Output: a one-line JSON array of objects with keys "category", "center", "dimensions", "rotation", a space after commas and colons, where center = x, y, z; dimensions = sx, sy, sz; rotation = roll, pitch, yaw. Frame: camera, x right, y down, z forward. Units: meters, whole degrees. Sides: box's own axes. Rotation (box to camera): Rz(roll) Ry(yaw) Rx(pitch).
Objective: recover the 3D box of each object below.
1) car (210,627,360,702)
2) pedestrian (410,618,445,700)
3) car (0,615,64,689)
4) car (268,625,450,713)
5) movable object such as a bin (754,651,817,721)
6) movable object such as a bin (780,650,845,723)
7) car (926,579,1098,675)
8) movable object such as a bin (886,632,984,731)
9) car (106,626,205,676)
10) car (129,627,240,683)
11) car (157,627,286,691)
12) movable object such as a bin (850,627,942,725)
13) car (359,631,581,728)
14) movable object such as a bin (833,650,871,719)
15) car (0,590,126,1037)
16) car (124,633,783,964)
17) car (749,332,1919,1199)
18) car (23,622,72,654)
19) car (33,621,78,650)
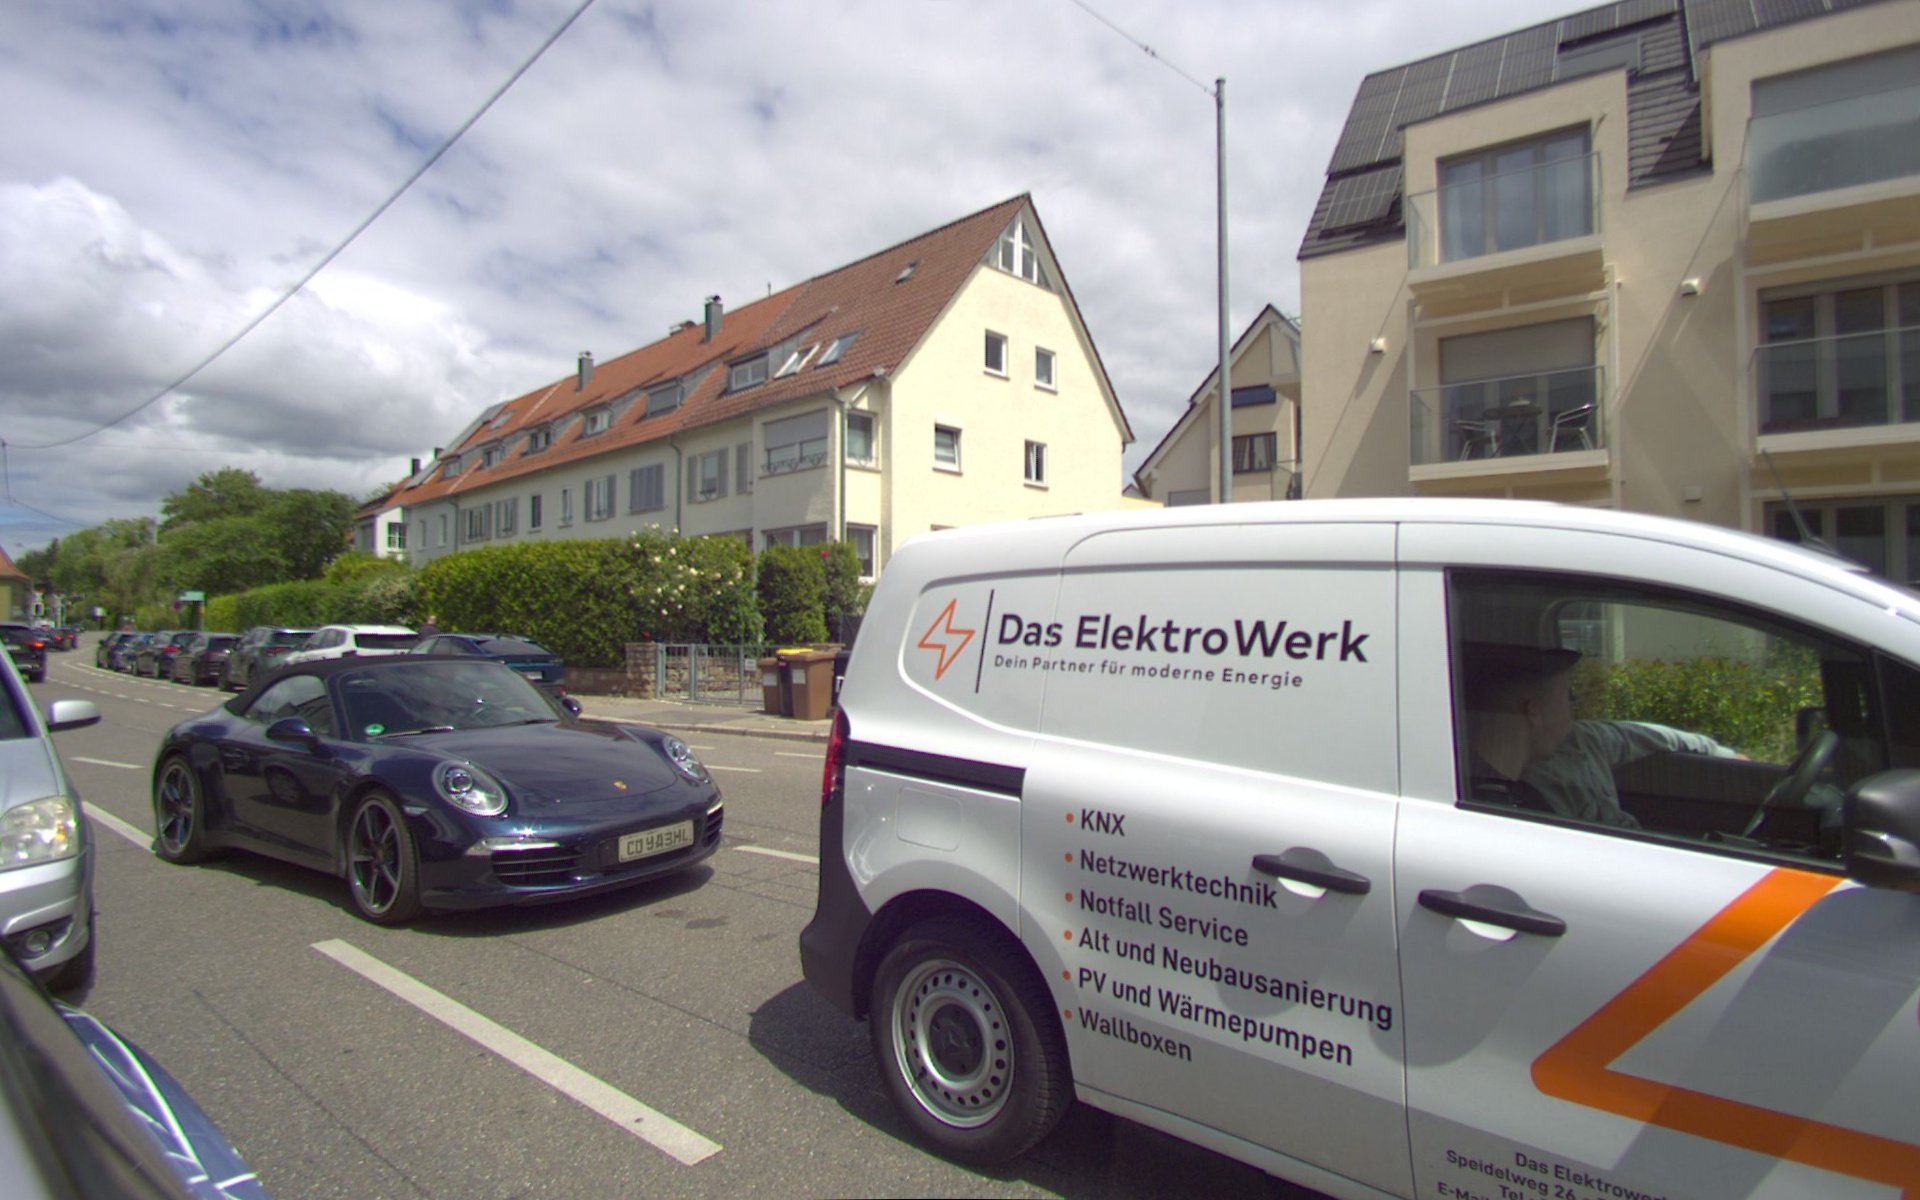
[{"category": "car", "center": [-16.496, 1.501, 24.669], "dimensions": [4.234, 1.645, 1.973], "rotation": [-2, -2, 41]}, {"category": "pedestrian", "center": [-12.085, 1.325, 22.974], "dimensions": [0.511, 1.829, 0.526], "rotation": [-1, -2, 36]}, {"category": "car", "center": [-26.283, 1.398, 27.891], "dimensions": [4.069, 1.929, 1.972], "rotation": [-2, -2, 43]}, {"category": "car", "center": [-12.692, 1.352, 21.265], "dimensions": [4.450, 1.645, 1.973], "rotation": [-2, -2, 41]}, {"category": "movable object such as a bin", "center": [-2.833, 1.377, 16.441], "dimensions": [0.752, 1.073, 0.693], "rotation": [1, -2, -42]}, {"category": "movable object such as a bin", "center": [-2.322, 1.344, 15.884], "dimensions": [0.752, 1.073, 0.693], "rotation": [1, -2, -42]}, {"category": "car", "center": [1.279, 0.607, 23.537], "dimensions": [1.999, 2.029, 3.946], "rotation": [-1, -2, 40]}, {"category": "movable object such as a bin", "center": [-0.361, 1.167, 14.922], "dimensions": [0.980, 1.373, 1.078], "rotation": [-2, -2, 40]}, {"category": "car", "center": [-28.361, 1.742, 35.625], "dimensions": [4.234, 1.645, 1.973], "rotation": [-2, -2, 41]}, {"category": "car", "center": [-24.595, 1.695, 32.047], "dimensions": [4.234, 1.645, 1.973], "rotation": [-2, -2, 41]}, {"category": "car", "center": [-20.685, 1.610, 28.311], "dimensions": [4.234, 1.645, 1.973], "rotation": [-2, -3, 41]}, {"category": "movable object such as a bin", "center": [-0.999, 1.153, 15.856], "dimensions": [0.980, 1.457, 1.078], "rotation": [-2, -2, 40]}, {"category": "car", "center": [-8.799, 1.315, 18.023], "dimensions": [4.447, 1.513, 1.796], "rotation": [-1, -2, 38]}, {"category": "movable object such as a bin", "center": [-1.743, 1.355, 16.370], "dimensions": [0.516, 1.073, 0.656], "rotation": [0, -1, 2]}, {"category": "car", "center": [-5.271, 0.792, 4.509], "dimensions": [3.999, 1.587, 1.751], "rotation": [-2, -2, 41]}, {"category": "car", "center": [-3.185, 0.902, 6.155], "dimensions": [4.032, 1.374, 1.796], "rotation": [-1, -2, 33]}, {"category": "car", "center": [1.593, 0.533, 2.531], "dimensions": [4.414, 1.825, 1.798], "rotation": [-1, -2, 39]}, {"category": "car", "center": [-56.090, 2.308, 62.261], "dimensions": [1.968, 1.929, 4.077], "rotation": [1, -2, -39]}, {"category": "car", "center": [-60.670, 2.364, 67.917], "dimensions": [1.968, 1.929, 4.077], "rotation": [1, -2, -39]}]
